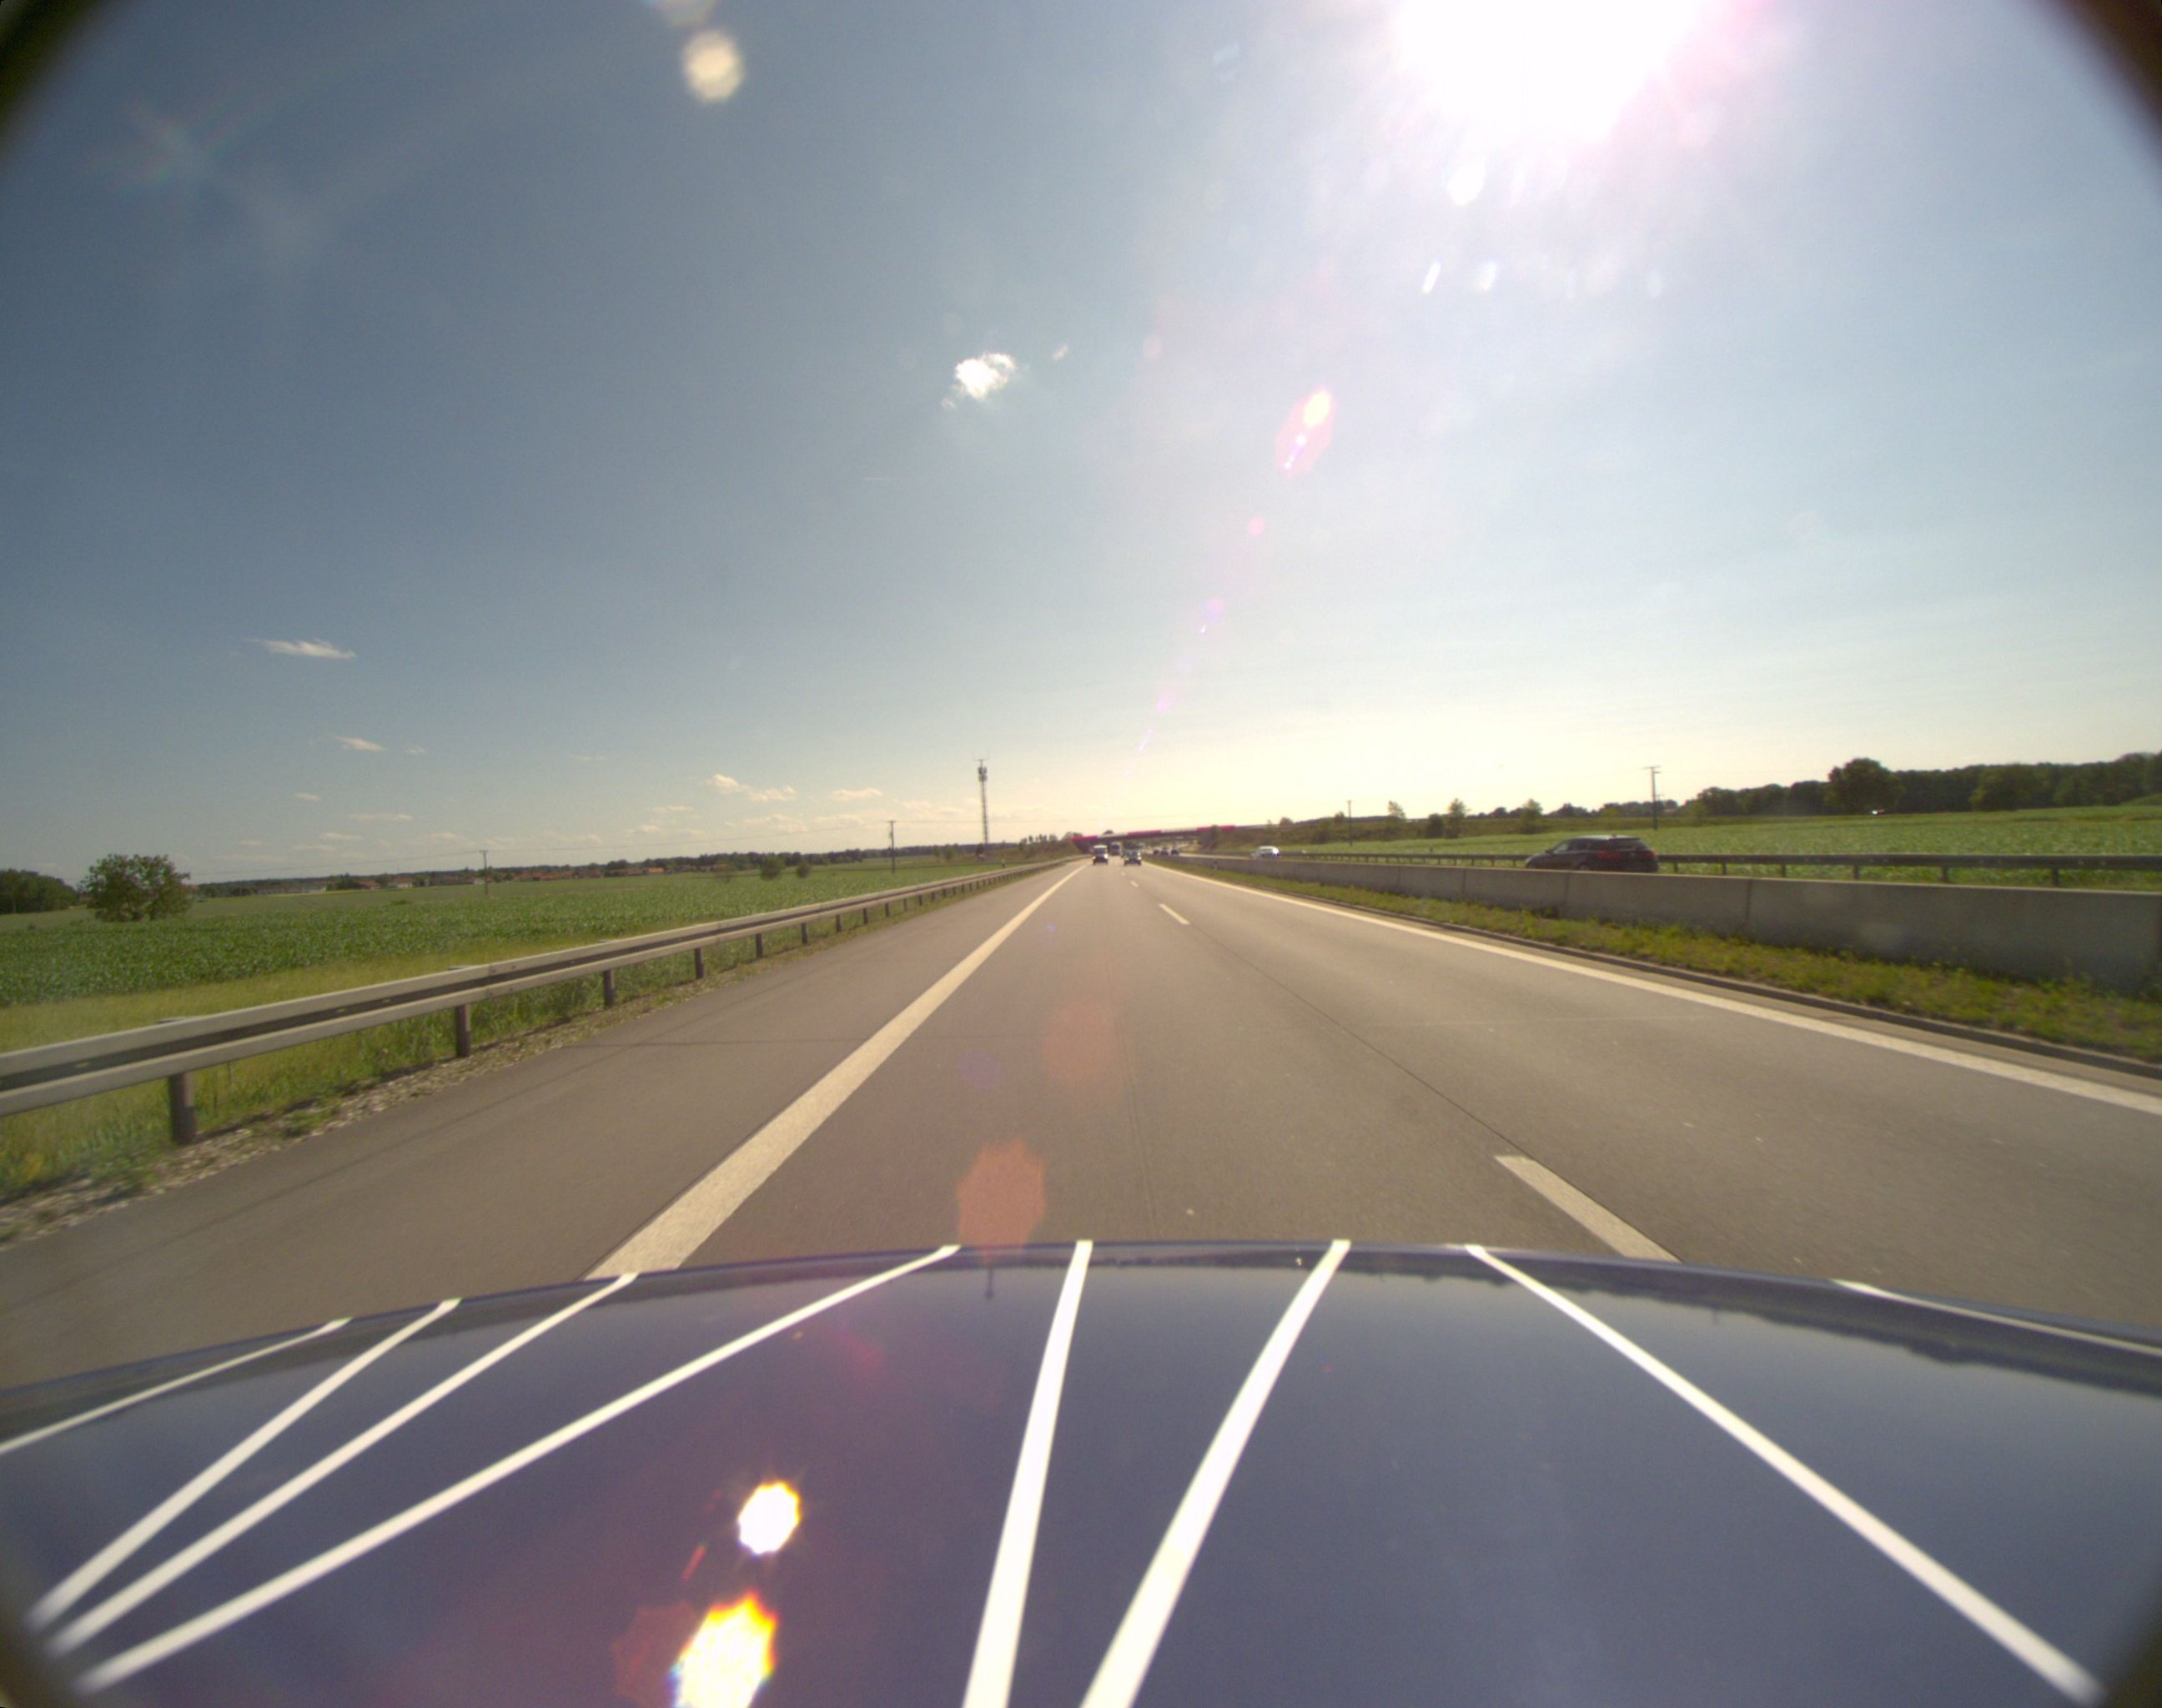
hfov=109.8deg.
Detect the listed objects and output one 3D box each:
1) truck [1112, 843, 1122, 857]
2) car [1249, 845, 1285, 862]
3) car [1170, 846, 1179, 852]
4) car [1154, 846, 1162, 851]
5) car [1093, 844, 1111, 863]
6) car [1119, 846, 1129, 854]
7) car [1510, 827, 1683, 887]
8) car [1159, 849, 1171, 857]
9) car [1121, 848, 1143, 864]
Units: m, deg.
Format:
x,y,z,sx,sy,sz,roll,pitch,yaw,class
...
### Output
x,y,z,sx,sy,sz,roll,pitch,yaw,class
10.843,-1.254,227.648,2.762,3.793,7.517,-3,1,3,truck
15.819,-0.037,64.819,1.827,1.357,5.295,-1,0,1,car
21.266,-1.113,172.632,1.827,1.357,4.664,-1,0,3,car
21.325,-1.434,210.460,1.827,1.357,5.198,-1,0,4,car
2.664,-0.131,95.557,2.030,2.225,4.818,-2,1,3,car
9.082,-0.857,161.865,2.030,1.600,4.820,-3,-1,2,car
15.297,0.083,22.968,1.863,1.575,4.914,-1,0,0,car
15.890,-0.238,143.704,1.827,1.357,4.660,-1,0,1,car
5.623,0.230,83.583,2.030,1.600,4.817,-2,1,0,car
